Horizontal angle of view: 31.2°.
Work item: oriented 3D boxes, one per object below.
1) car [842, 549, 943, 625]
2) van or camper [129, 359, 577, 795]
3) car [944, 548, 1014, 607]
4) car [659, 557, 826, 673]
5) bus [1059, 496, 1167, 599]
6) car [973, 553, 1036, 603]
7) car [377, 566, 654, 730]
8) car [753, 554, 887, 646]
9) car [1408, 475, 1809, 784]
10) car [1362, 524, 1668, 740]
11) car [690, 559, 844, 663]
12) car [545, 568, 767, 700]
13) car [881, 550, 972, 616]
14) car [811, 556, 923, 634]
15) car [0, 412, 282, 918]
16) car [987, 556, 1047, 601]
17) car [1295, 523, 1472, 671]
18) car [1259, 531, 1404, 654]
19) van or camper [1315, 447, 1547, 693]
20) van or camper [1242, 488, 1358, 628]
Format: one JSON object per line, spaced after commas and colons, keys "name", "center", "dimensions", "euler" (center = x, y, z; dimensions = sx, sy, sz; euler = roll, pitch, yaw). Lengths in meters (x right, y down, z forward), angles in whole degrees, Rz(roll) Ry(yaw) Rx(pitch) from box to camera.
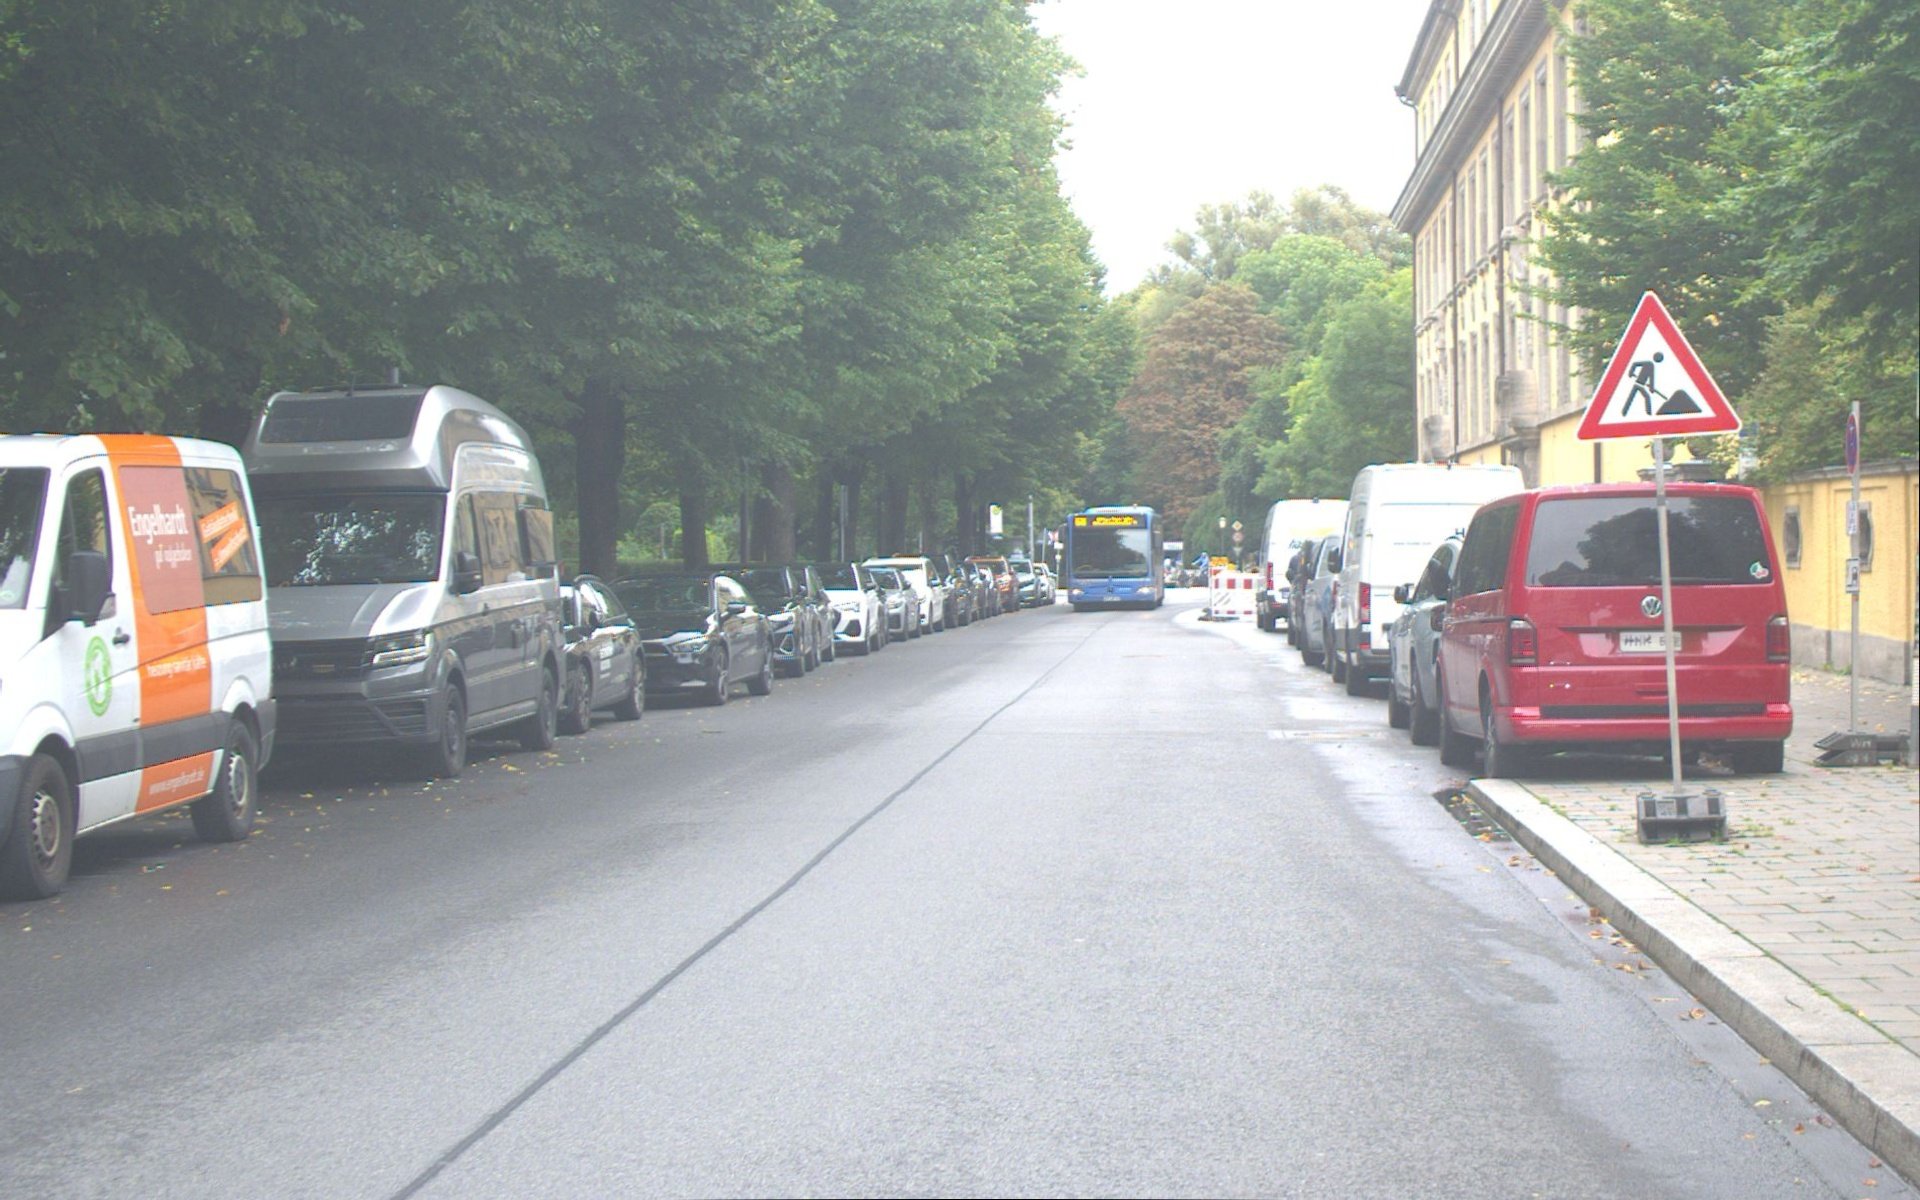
{"name": "car", "center": [-1.416, -0.299, 73.605], "dimensions": [1.852, 1.558, 4.000], "euler": [-1, 1, 3]}
{"name": "van or camper", "center": [-4.512, -0.200, 26.646], "dimensions": [2.001, 2.935, 6.010], "euler": [-2, 1, 3]}
{"name": "car", "center": [0.589, -0.686, 102.550], "dimensions": [1.852, 1.695, 4.000], "euler": [-1, 1, 3]}
{"name": "car", "center": [-2.911, 0.169, 46.768], "dimensions": [1.852, 1.468, 4.000], "euler": [-1, 1, 2]}
{"name": "bus", "center": [4.798, -1.607, 105.367], "dimensions": [2.713, 2.889, 14.551], "euler": [-1, 1, 5]}
{"name": "car", "center": [1.451, -0.733, 111.238], "dimensions": [1.852, 1.566, 4.000], "euler": [-1, 1, 3]}
{"name": "car", "center": [-4.138, 0.410, 32.626], "dimensions": [1.875, 1.412, 4.000], "euler": [-1, 1, 3]}
{"name": "car", "center": [-2.316, -0.027, 57.808], "dimensions": [1.852, 1.468, 4.000], "euler": [-1, 1, 3]}
{"name": "car", "center": [4.286, 0.150, 23.457], "dimensions": [1.991, 1.833, 4.713], "euler": [-2, 1, 3]}
{"name": "car", "center": [4.538, 0.218, 28.714], "dimensions": [1.991, 1.603, 4.322], "euler": [-2, 1, 3]}
{"name": "car", "center": [-2.869, 0.132, 51.883], "dimensions": [1.852, 1.468, 4.000], "euler": [-1, 1, 3]}
{"name": "car", "center": [-3.312, 0.342, 38.132], "dimensions": [1.875, 1.343, 4.000], "euler": [-1, 1, 3]}
{"name": "car", "center": [-0.761, -0.419, 80.426], "dimensions": [1.852, 1.468, 4.000], "euler": [-1, 1, 3]}
{"name": "car", "center": [-1.803, -0.125, 67.906], "dimensions": [1.852, 1.468, 4.000], "euler": [-1, 1, 3]}
{"name": "car", "center": [-5.157, 0.281, 17.726], "dimensions": [1.947, 2.265, 5.243], "euler": [-2, 1, 3]}
{"name": "car", "center": [1.967, -0.751, 117.226], "dimensions": [1.852, 1.468, 4.000], "euler": [-1, 1, 3]}
{"name": "car", "center": [5.642, -0.066, 46.260], "dimensions": [1.991, 1.838, 4.322], "euler": [-2, 1, 3]}
{"name": "car", "center": [5.923, -0.142, 55.189], "dimensions": [1.991, 1.838, 4.322], "euler": [-2, 1, 3]}
{"name": "van or camper", "center": [5.264, -0.352, 39.069], "dimensions": [2.132, 2.537, 5.243], "euler": [-2, 1, 3]}
{"name": "van or camper", "center": [6.977, -0.869, 71.038], "dimensions": [2.115, 2.723, 5.242], "euler": [-2, 1, 4]}
